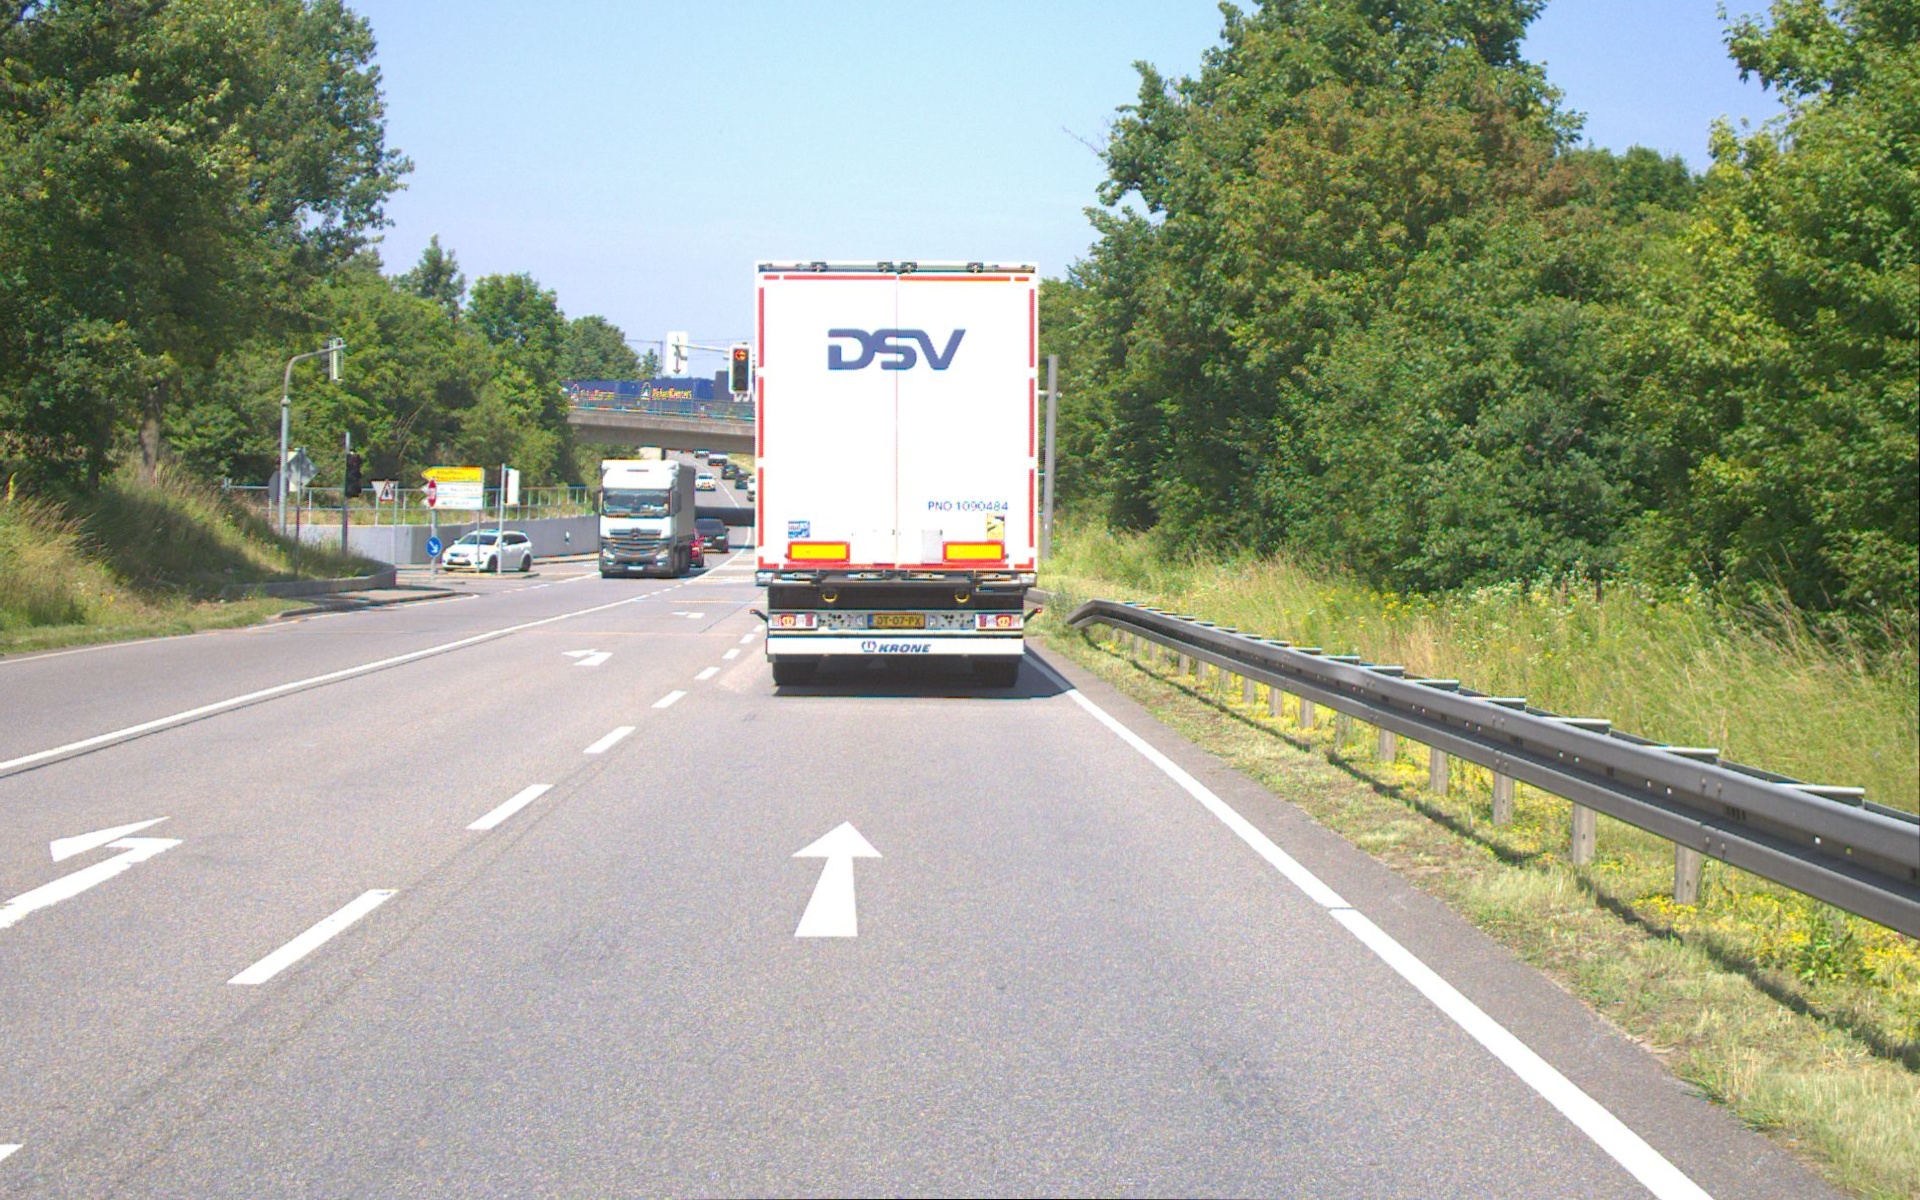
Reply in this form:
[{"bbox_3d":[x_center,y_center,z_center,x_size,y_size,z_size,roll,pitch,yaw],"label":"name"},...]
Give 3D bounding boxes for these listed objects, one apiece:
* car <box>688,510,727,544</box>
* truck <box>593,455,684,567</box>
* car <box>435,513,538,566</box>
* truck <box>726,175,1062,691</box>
[{"bbox_3d":[-12.512,-3.628,170.346,1.747,1.620,3.704,0,2,-2],"label":"car"},{"bbox_3d":[-11.292,-3.170,121.518,2.353,3.737,12.627,0,2,-2],"label":"truck"},{"bbox_3d":[-17.126,-2.227,124.574,1.803,1.865,4.415,1,2,21],"label":"car"},{"bbox_3d":[-0.780,-1.570,35.498,2.949,4.553,9.864,0,1,-2],"label":"truck"}]
